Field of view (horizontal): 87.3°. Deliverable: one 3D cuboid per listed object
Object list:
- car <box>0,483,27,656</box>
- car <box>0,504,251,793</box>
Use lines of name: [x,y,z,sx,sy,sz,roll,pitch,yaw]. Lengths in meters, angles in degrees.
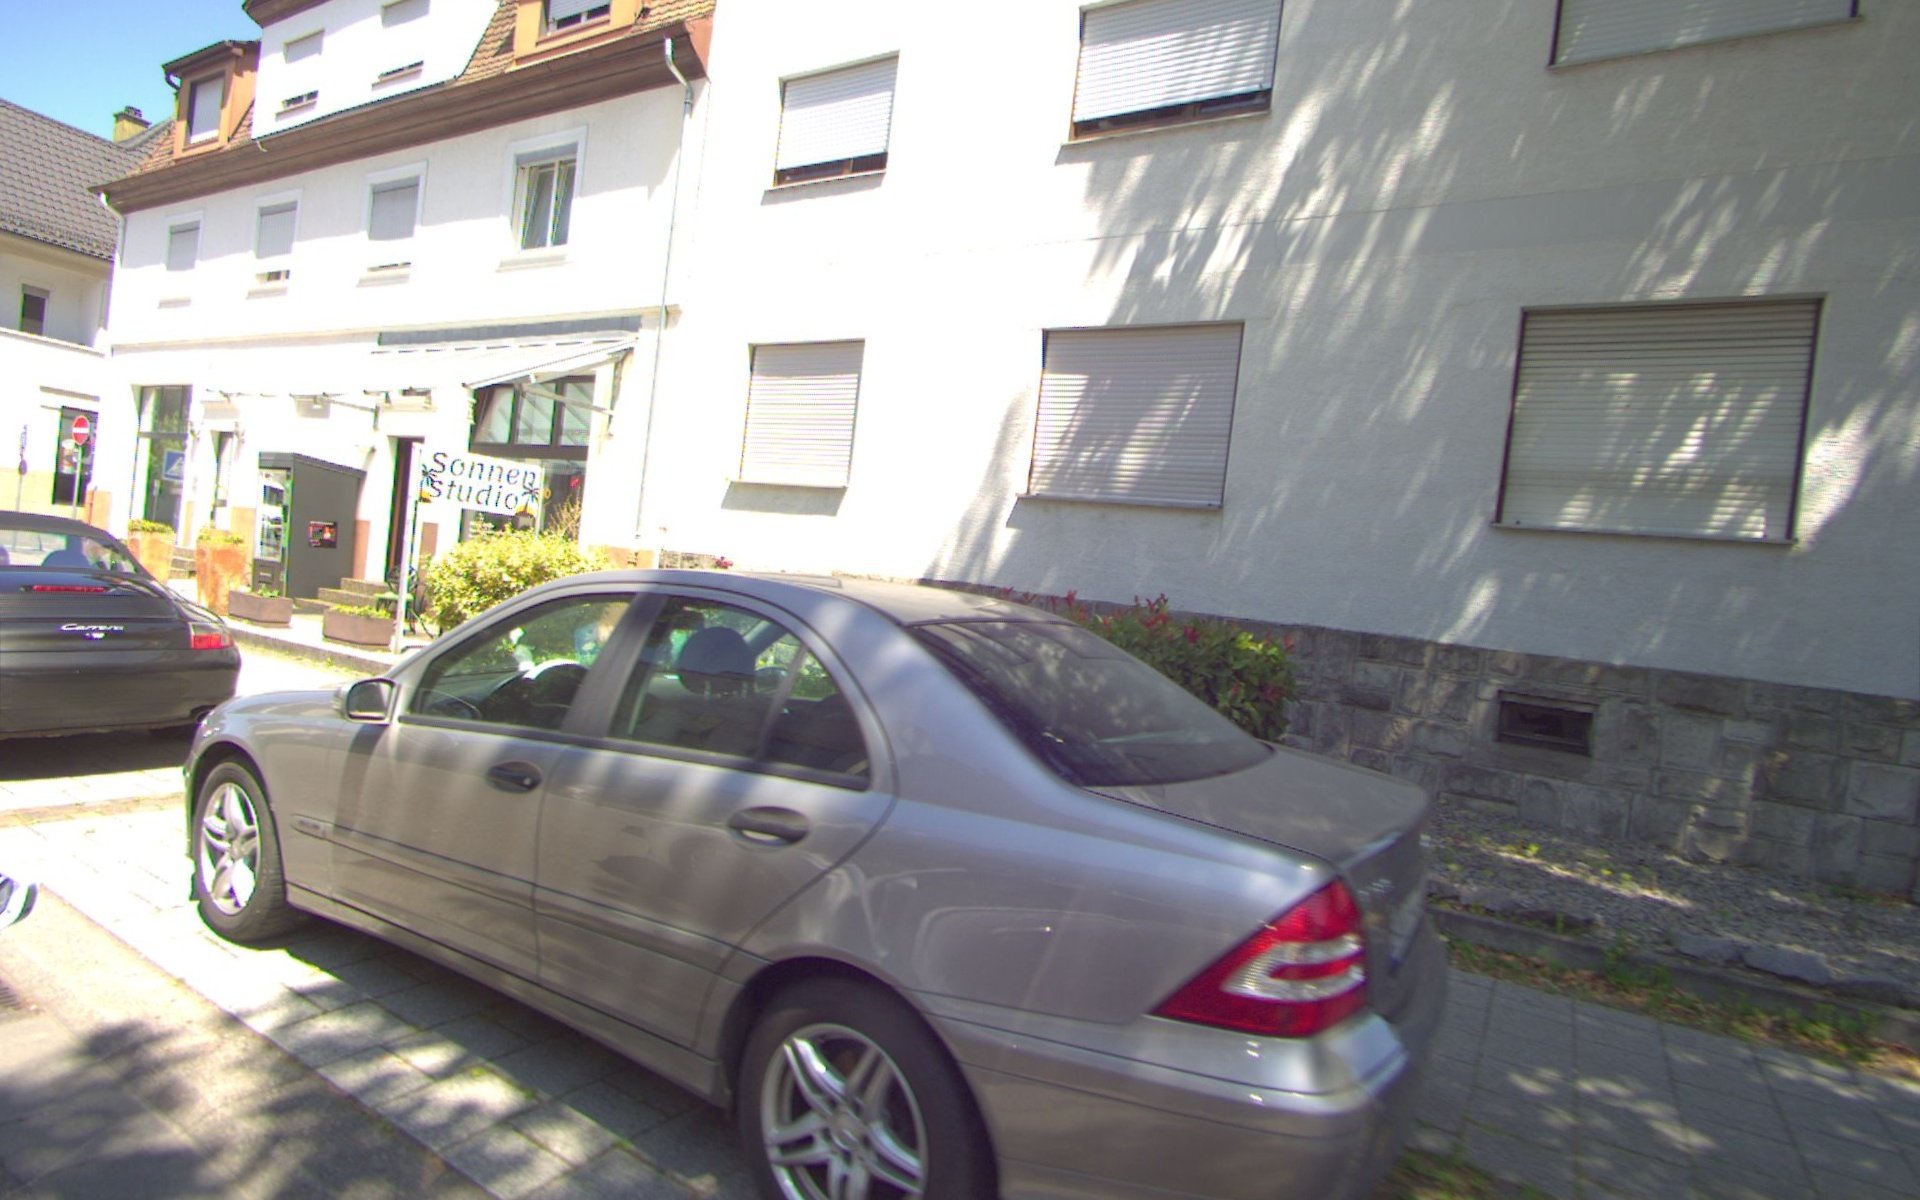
car: [-10.622,-0.493,9.285,4.772,1.488,1.744,6,2,32]
car: [-6.226,0.082,6.142,4.104,1.358,1.559,6,1,32]
